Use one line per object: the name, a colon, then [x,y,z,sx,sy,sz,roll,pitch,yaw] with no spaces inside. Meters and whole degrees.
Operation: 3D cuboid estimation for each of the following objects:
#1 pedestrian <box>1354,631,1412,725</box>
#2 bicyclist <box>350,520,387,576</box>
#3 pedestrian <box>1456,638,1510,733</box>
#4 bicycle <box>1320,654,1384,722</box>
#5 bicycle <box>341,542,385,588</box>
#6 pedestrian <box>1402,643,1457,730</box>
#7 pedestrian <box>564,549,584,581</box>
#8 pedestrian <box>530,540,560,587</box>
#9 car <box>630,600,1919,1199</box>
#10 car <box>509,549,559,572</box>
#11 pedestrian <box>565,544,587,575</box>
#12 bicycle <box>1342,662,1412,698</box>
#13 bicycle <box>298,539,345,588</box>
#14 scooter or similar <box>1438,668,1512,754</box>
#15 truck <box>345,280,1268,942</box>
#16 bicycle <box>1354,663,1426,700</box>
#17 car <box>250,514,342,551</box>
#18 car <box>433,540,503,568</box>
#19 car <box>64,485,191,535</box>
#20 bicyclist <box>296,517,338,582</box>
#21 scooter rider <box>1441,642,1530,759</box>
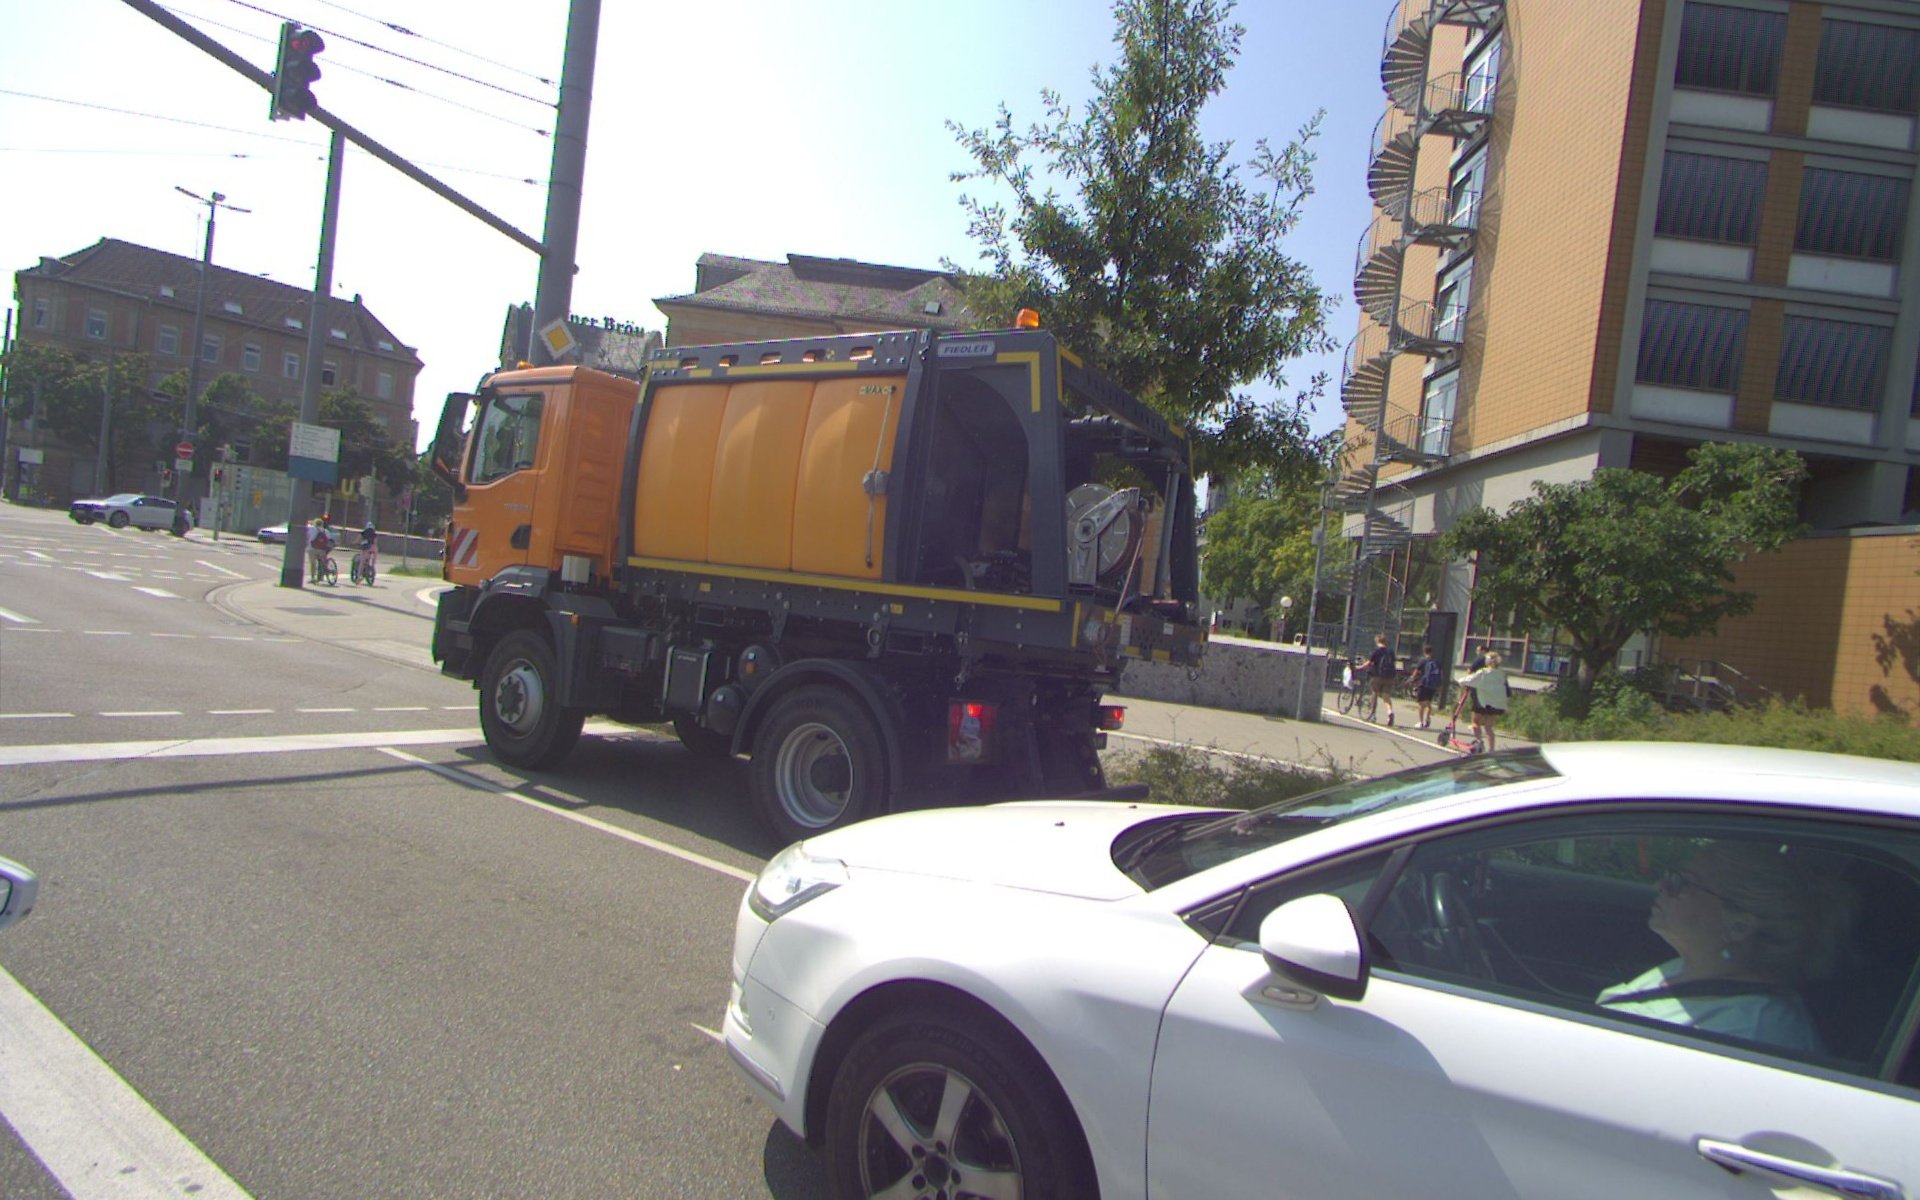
pedestrian: [8.898,1.627,21.175,0.665,1.862,0.837,6,1,0]
bicyclist: [-15.860,-1.403,26.972,0.882,1.410,0.529,7,1,44]
pedestrian: [10.992,1.783,21.160,0.617,1.895,0.837,6,1,13]
bicycle: [8.276,1.832,21.304,0.474,1.227,1.847,6,0,-1]
bicycle: [-16.187,-0.955,27.260,1.632,1.068,0.535,7,1,44]
pedestrian: [9.796,1.797,21.011,0.665,1.695,0.837,6,1,9]
pedestrian: [-20.239,-1.831,52.807,0.727,1.595,0.787,7,1,-14]
pedestrian: [-16.480,-1.453,39.944,0.808,1.746,0.545,7,1,-10]
car: [1.557,1.004,2.191,4.534,1.446,1.770,7,0,33]
car: [-34.479,-3.185,81.572,1.742,1.433,4.203,7,0,6]
pedestrian: [-16.117,-1.707,42.190,0.660,1.229,0.523,6,1,-31]
bicycle: [13.018,2.484,31.420,1.866,0.850,0.549,7,1,5]
bicycle: [-16.008,-0.921,25.214,1.632,1.068,0.535,7,1,44]
scooter or similar: [8.613,1.839,16.877,0.639,1.294,1.178,7,-1,9]
truck: [-1.549,-0.164,7.695,6.750,3.172,2.495,7,-1,33]
bicycle: [13.147,2.489,30.791,1.866,0.850,0.549,7,1,5]
car: [-36.437,-3.673,55.319,1.742,1.433,4.190,7,0,9]
car: [-34.923,-3.240,71.539,1.742,1.433,4.771,7,0,12]
car: [-38.015,-4.056,46.076,1.721,1.638,4.338,7,0,9]
bicyclist: [-16.196,-1.270,25.343,0.702,1.537,0.626,7,1,44]
scooter rider: [8.758,1.650,16.801,0.844,1.778,1.041,7,-1,9]
